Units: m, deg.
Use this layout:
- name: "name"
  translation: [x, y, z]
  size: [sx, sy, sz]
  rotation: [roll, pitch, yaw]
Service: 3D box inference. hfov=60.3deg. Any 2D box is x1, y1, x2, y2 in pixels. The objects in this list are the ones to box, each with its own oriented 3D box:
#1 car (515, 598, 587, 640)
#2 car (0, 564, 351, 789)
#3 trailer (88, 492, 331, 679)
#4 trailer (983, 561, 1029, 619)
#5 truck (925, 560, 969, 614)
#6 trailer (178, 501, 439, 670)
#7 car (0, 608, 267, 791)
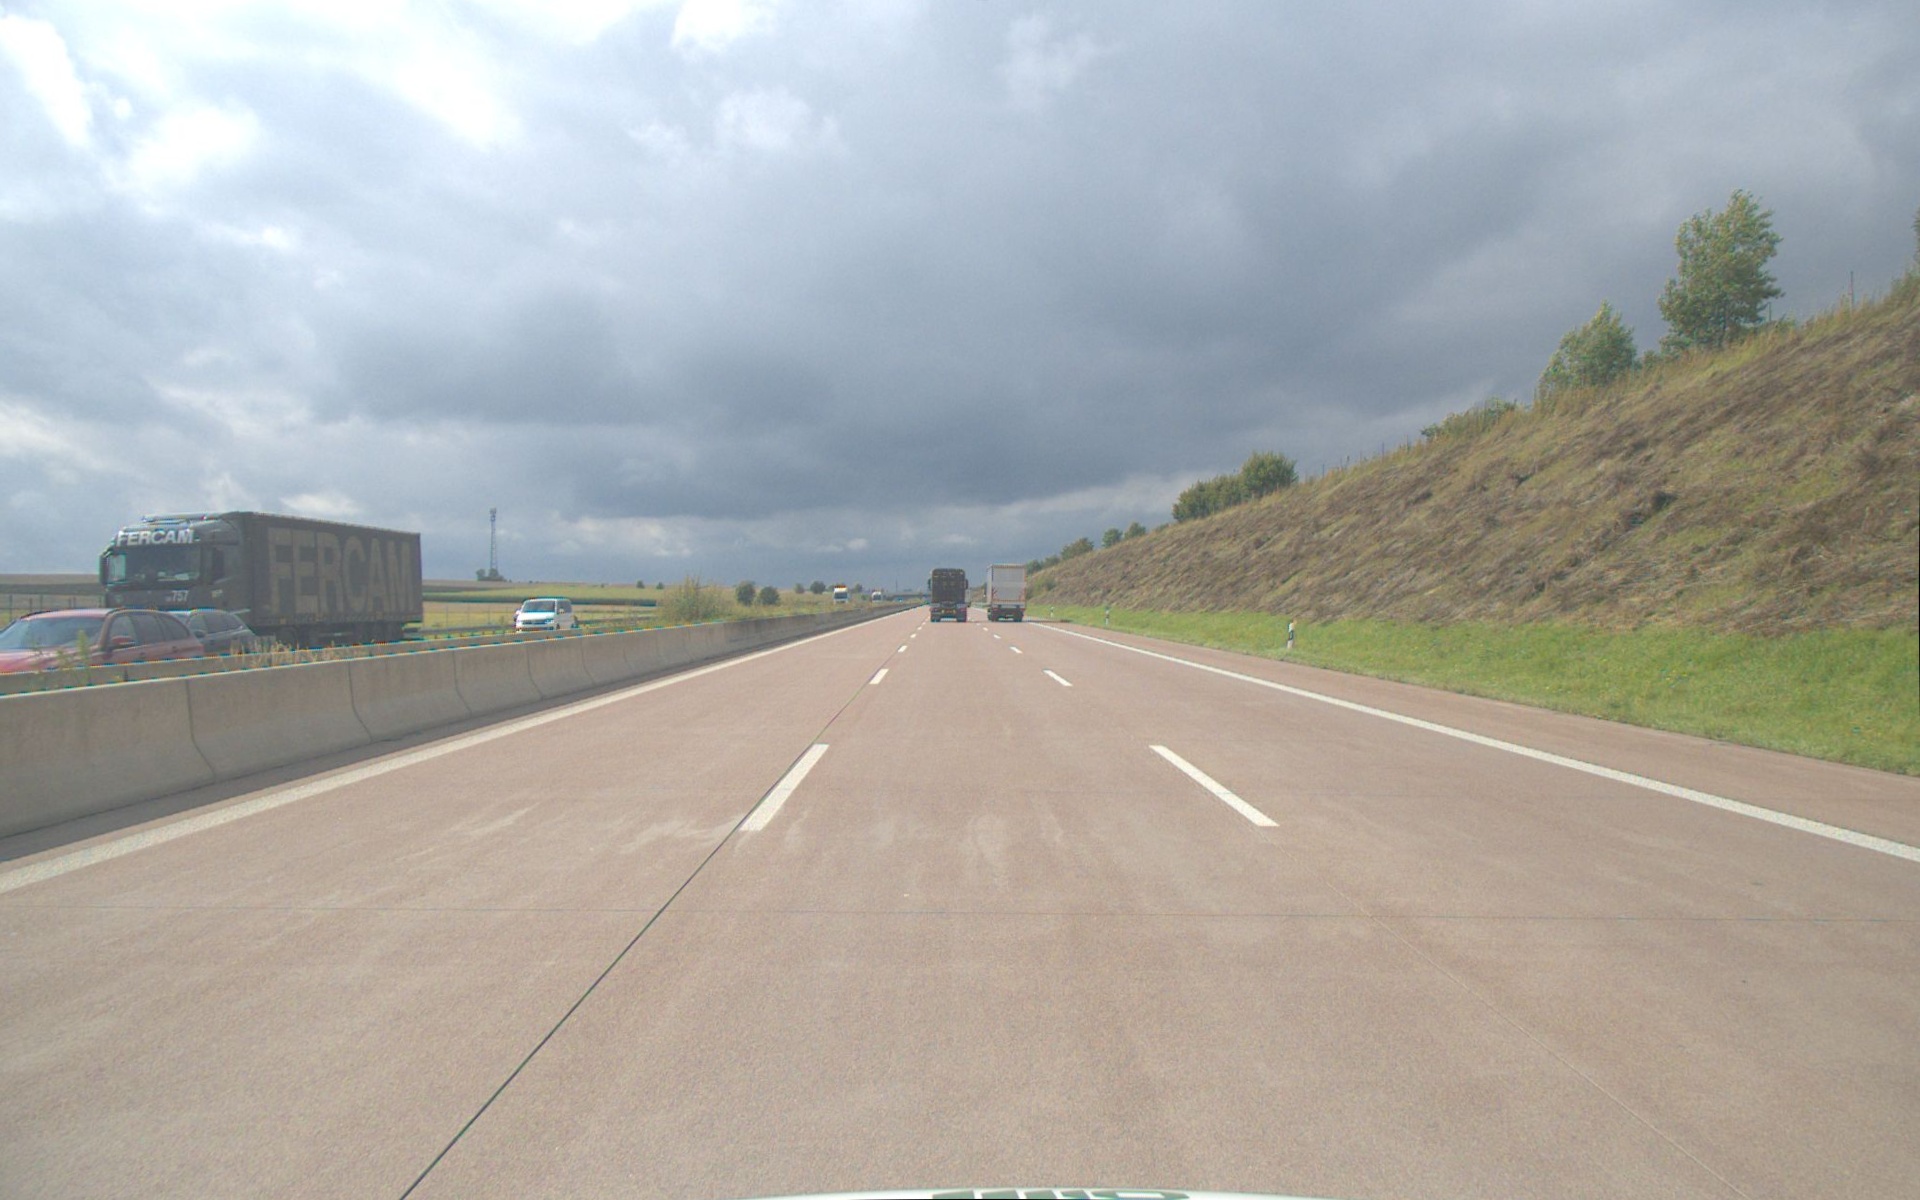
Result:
- name: "car"
  translation: [-19.394, 0.856, 78.689]
  size: [2.016, 1.878, 5.727]
  rotation: [-1, 0, -1]
- name: "car"
  translation: [-7.103, 0.563, 14.619]
  size: [1.932, 1.691, 4.081]
  rotation: [1, 0, -1]
- name: "trailer"
  translation: [-18.865, -0.355, 42.153]
  size: [2.946, 4.322, 7.008]
  rotation: [1, 0, 0]
- name: "trailer"
  translation: [3.296, -0.691, 120.919]
  size: [2.692, 4.082, 8.666]
  rotation: [1, 0, -2]
- name: "truck"
  translation: [-0.951, -0.861, 115.024]
  size: [2.790, 3.612, 8.315]
  rotation: [1, 0, -2]
- name: "trailer"
  translation: [-18.890, -0.404, 49.201]
  size: [2.960, 4.339, 12.094]
  rotation: [1, 0, 0]
- name: "car"
  translation: [-11.108, 1.155, 21.597]
  size: [1.953, 2.017, 5.217]
  rotation: [1, 0, -1]
